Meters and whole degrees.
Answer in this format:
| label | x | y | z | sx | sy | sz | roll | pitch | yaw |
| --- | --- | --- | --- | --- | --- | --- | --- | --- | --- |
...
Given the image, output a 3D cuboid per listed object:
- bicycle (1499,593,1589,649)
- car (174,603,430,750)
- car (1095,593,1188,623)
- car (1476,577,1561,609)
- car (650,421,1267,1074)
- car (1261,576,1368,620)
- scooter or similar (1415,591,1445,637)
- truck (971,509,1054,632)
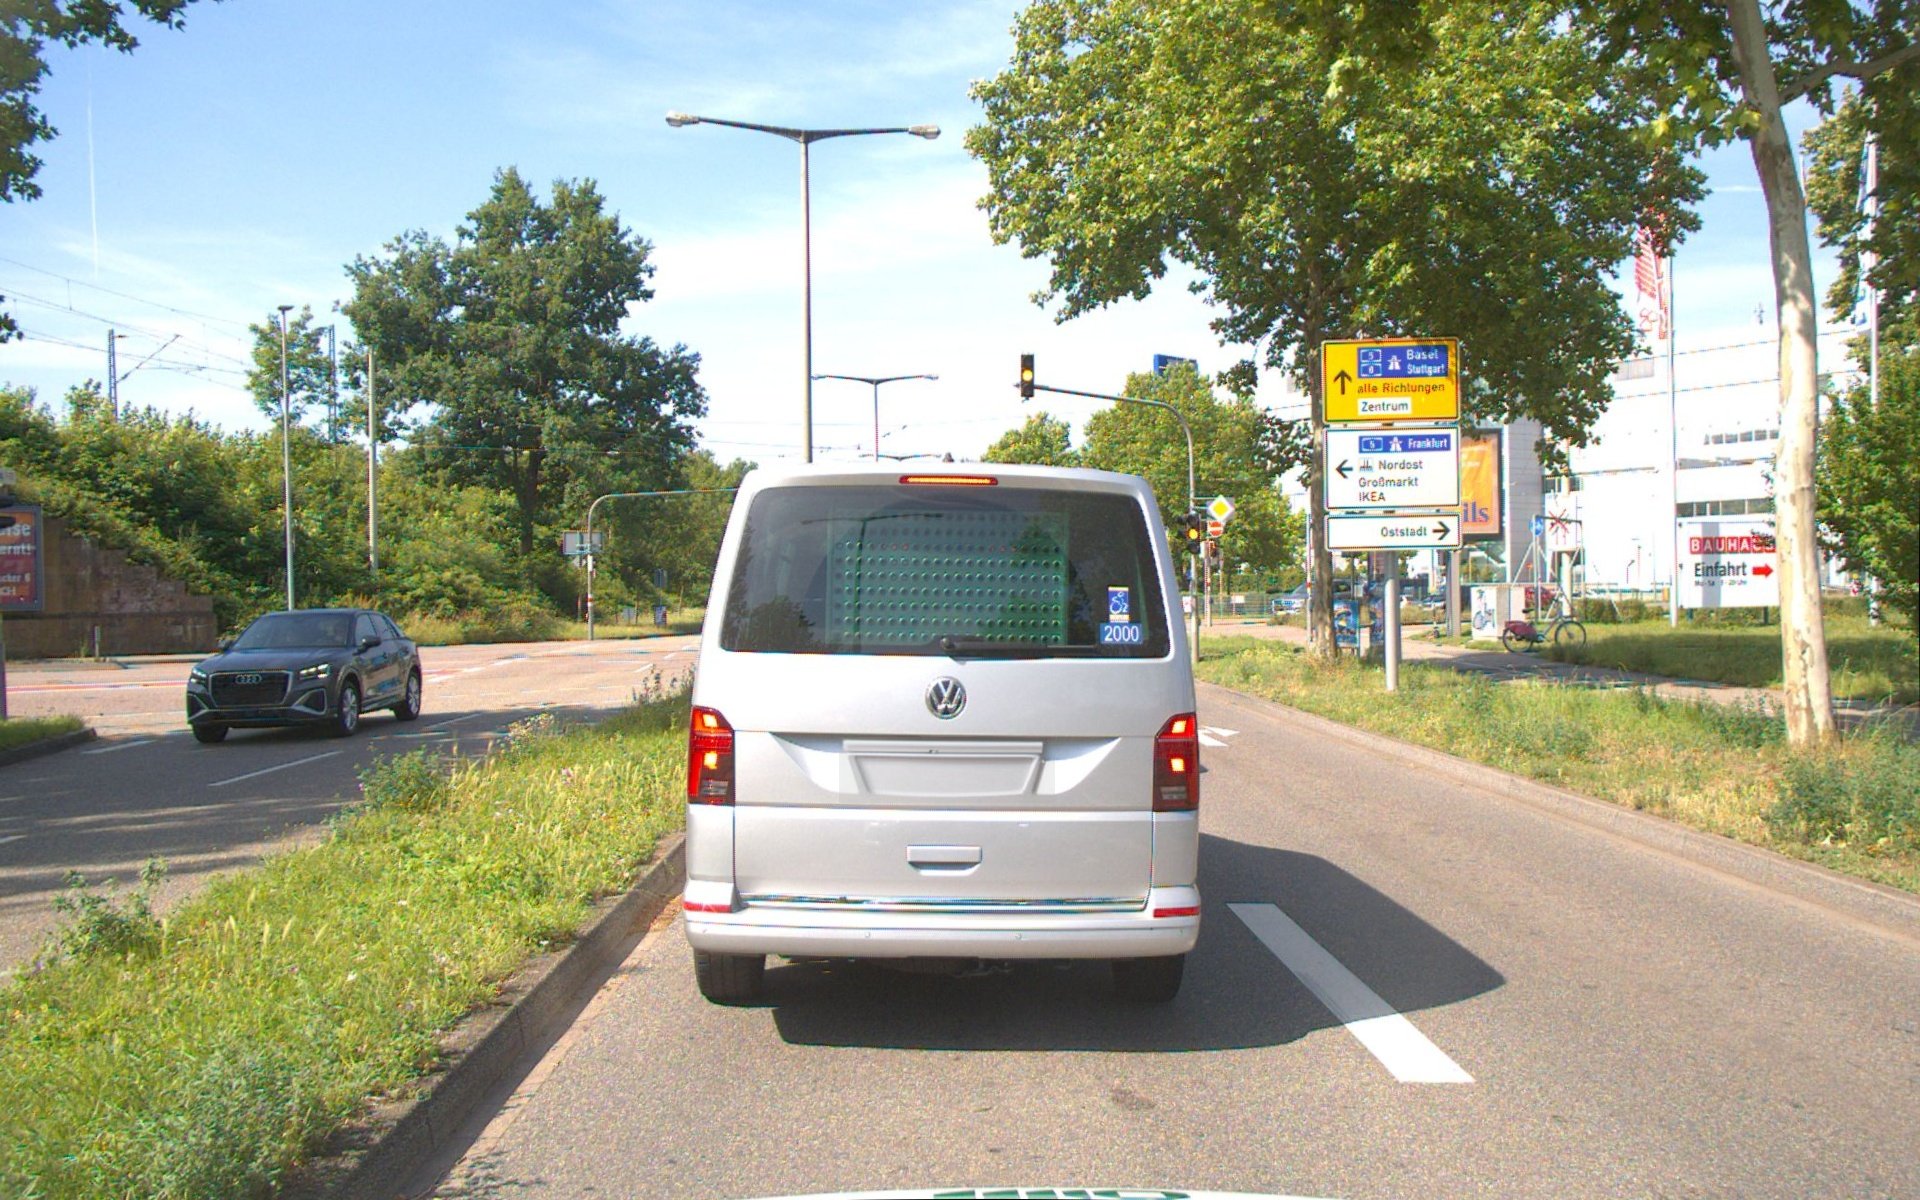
| label | x | y | z | sx | sy | sz | roll | pitch | yaw |
| --- | --- | --- | --- | --- | --- | --- | --- | --- | --- |
| bicycle | 12.505 | 0.455 | 35.449 | 1.748 | 1.127 | 0.504 | -3 | -1 | 18 |
| car | -8.021 | 0.865 | 20.559 | 1.827 | 1.492 | 3.934 | -3 | 1 | -5 |
| car | 9.515 | 0.413 | 86.881 | 4.527 | 1.469 | 1.777 | -1 | 0 | 32 |
| car | 27.861 | -0.356 | 82.464 | 4.578 | 1.469 | 1.758 | -1 | 0 | -38 |
| car | -0.038 | 0.448 | 7.636 | 1.902 | 2.006 | 5.021 | 0 | 0 | -1 |
| car | 14.808 | -0.102 | 68.995 | 4.578 | 1.718 | 1.890 | -1 | 0 | -38 |
| scooter or similar | 12.093 | 0.355 | 42.574 | 0.416 | 1.146 | 1.123 | -1 | 0 | -2 |
| truck | 1.775 | -0.970 | 59.197 | 2.501 | 4.026 | 8.972 | -1 | 0 | -1 |
